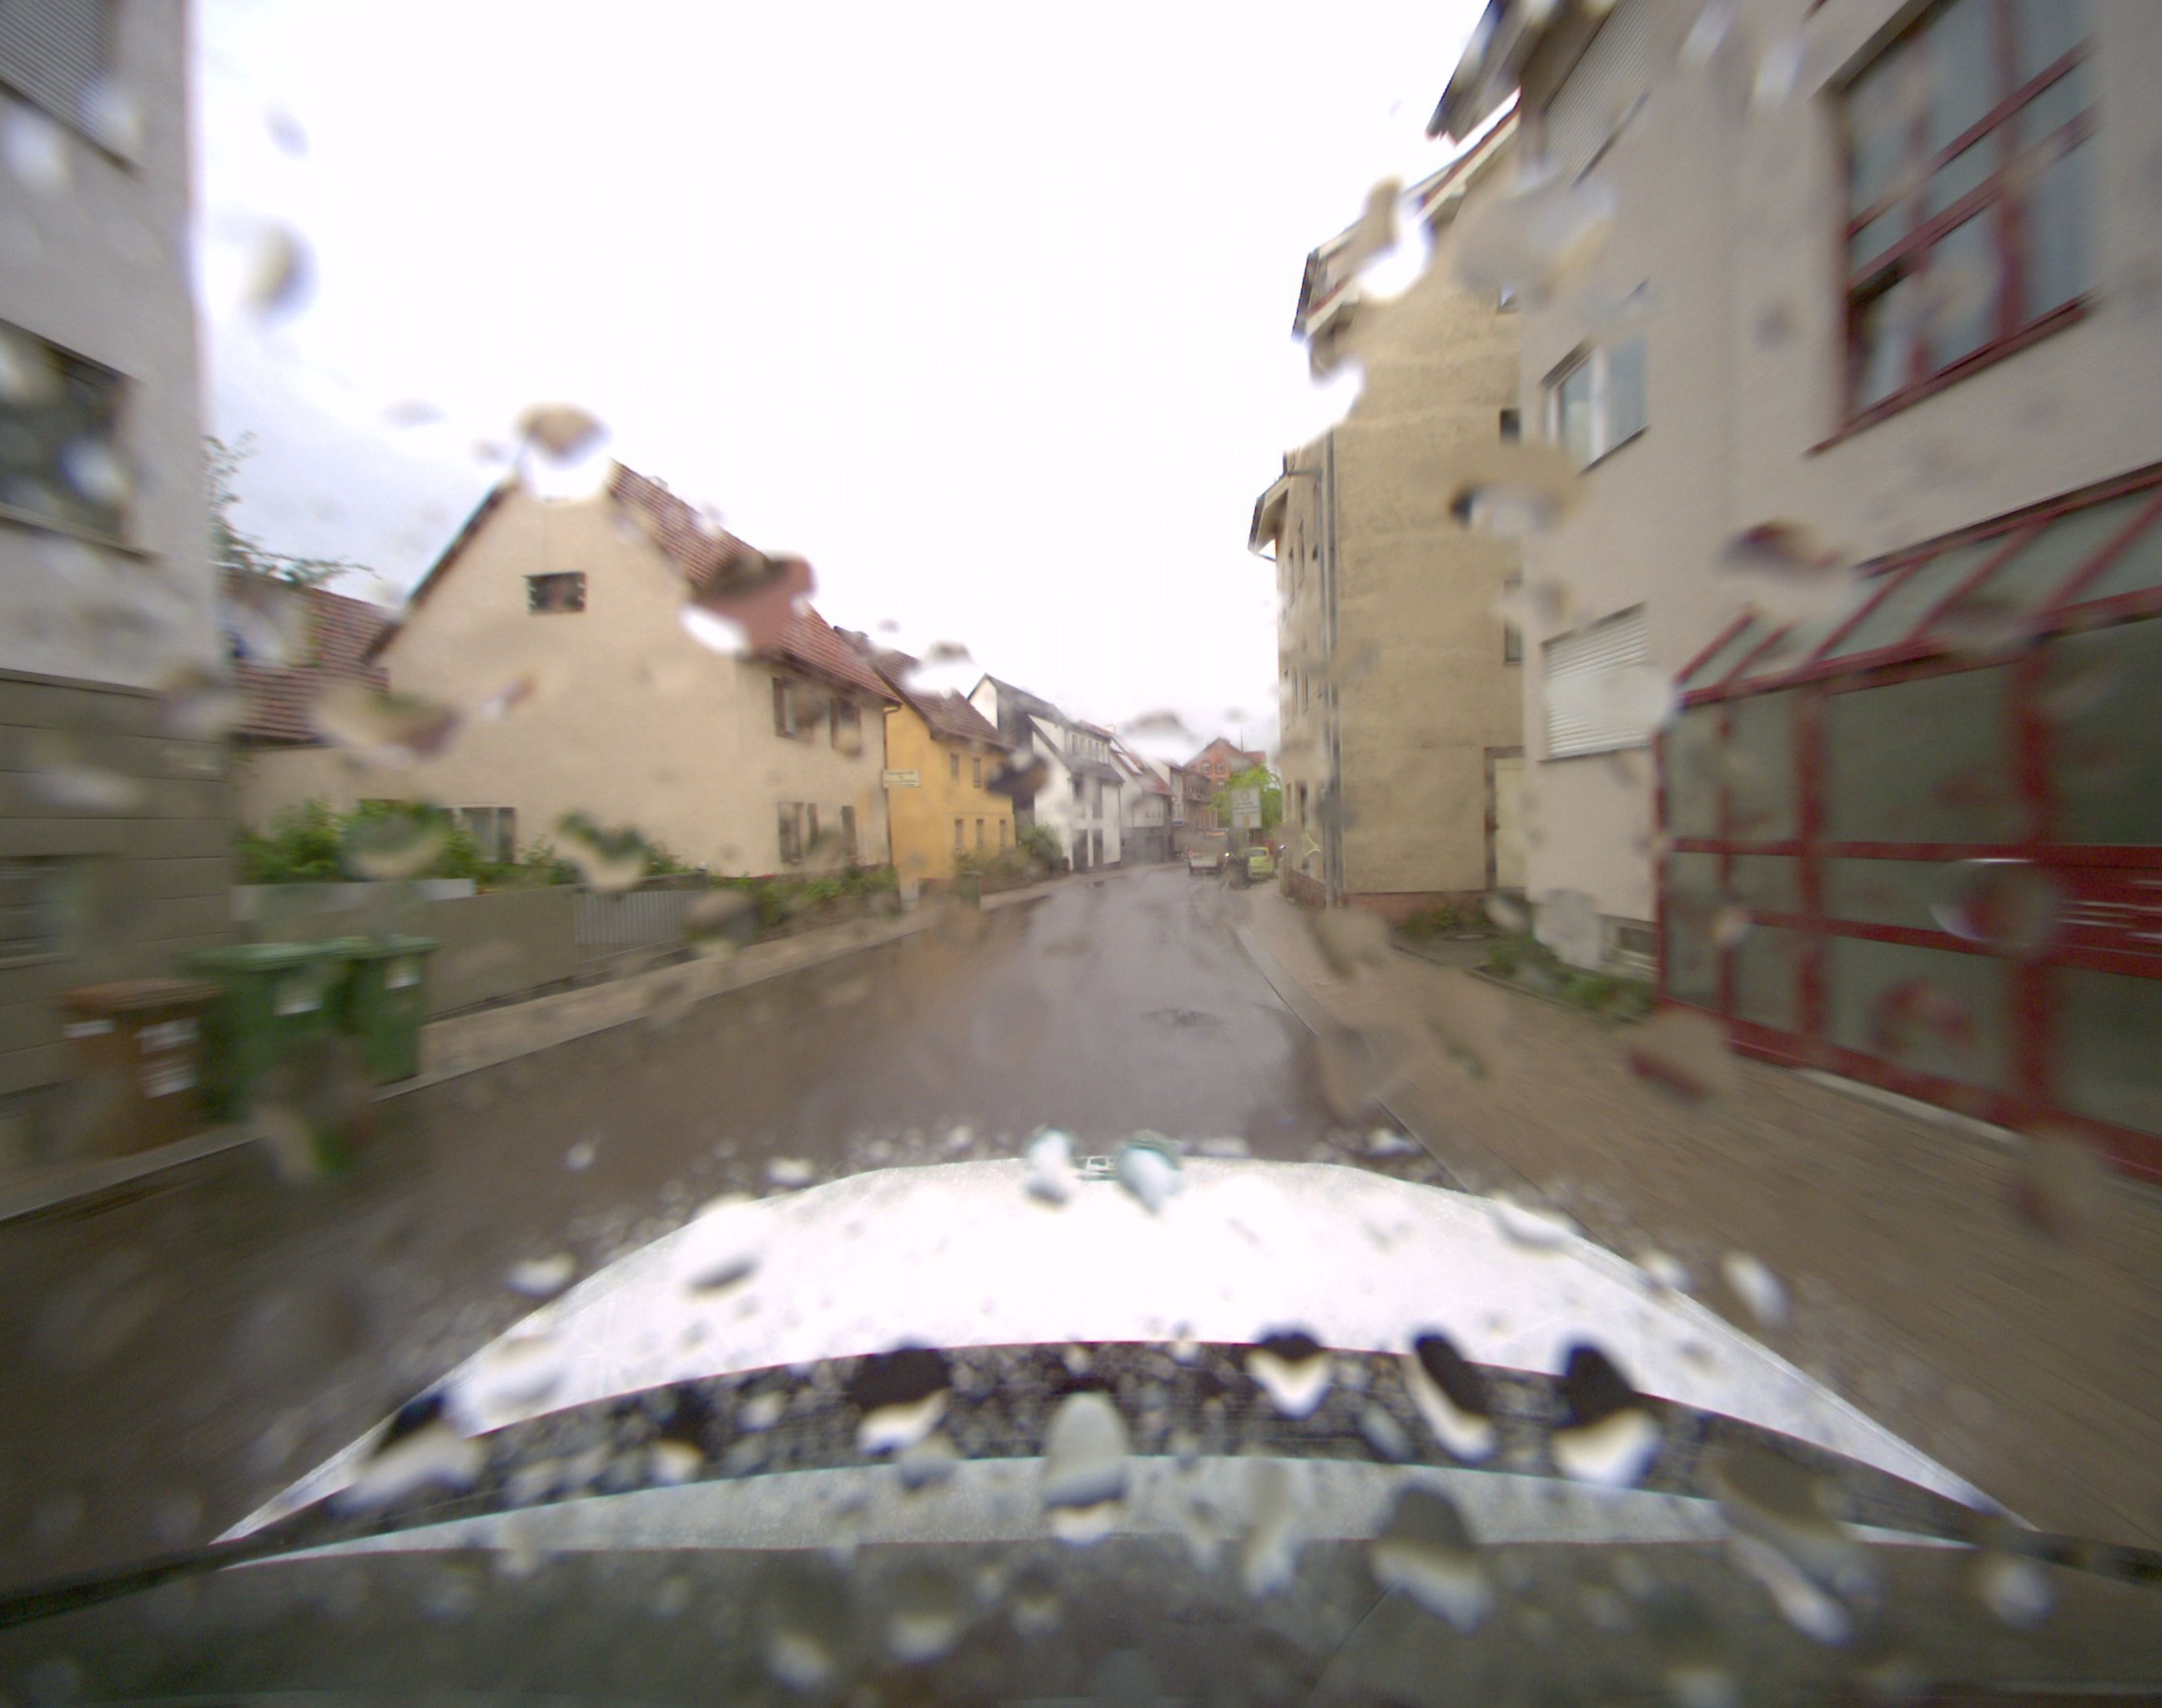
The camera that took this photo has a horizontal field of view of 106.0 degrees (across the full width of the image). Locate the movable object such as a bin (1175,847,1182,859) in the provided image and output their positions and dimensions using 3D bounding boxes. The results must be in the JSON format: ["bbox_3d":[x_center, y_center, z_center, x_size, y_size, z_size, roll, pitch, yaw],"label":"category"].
[{"bbox_3d":[8.943,-0.087,74.637,0.515,1.122,0.637,-1,0,9],"label":"movable object such as a bin"}]

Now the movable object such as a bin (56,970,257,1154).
[{"bbox_3d":[-5.367,1.183,4.757,0.504,0.922,0.580,0,0,3],"label":"movable object such as a bin"}]

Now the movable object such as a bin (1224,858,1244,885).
[{"bbox_3d":[5.875,0.672,31.322,0.701,1.046,0.520,-1,0,14],"label":"movable object such as a bin"}]

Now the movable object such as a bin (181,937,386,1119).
[{"bbox_3d":[-5.309,1.124,5.461,0.678,1.066,0.696,0,0,5],"label":"movable object such as a bin"}]

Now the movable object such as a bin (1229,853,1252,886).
[{"bbox_3d":[5.924,0.551,30.194,0.762,1.173,1.546,-1,0,11],"label":"movable object such as a bin"}]

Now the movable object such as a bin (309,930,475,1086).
[{"bbox_3d":[-5.173,1.127,6.148,0.678,1.045,0.662,0,0,5],"label":"movable object such as a bin"}]

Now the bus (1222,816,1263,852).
[{"bbox_3d":[15.553,-1.835,77.902,2.718,3.130,9.276,-1,0,18],"label":"bus"}]

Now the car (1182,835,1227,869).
[{"bbox_3d":[7.386,-0.141,48.349,2.179,1.851,4.320,-2,0,13],"label":"car"}]

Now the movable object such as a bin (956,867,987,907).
[{"bbox_3d":[-3.078,0.918,22.899,0.656,1.056,0.765,1,0,7],"label":"movable object such as a bin"}]

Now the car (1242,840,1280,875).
[{"bbox_3d":[8.678,0.145,39.144,1.591,1.484,3.314,-4,0,14],"label":"car"}]

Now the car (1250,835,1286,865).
[{"bbox_3d":[11.827,-0.233,51.296,1.697,1.762,4.020,-1,0,20],"label":"car"}]
